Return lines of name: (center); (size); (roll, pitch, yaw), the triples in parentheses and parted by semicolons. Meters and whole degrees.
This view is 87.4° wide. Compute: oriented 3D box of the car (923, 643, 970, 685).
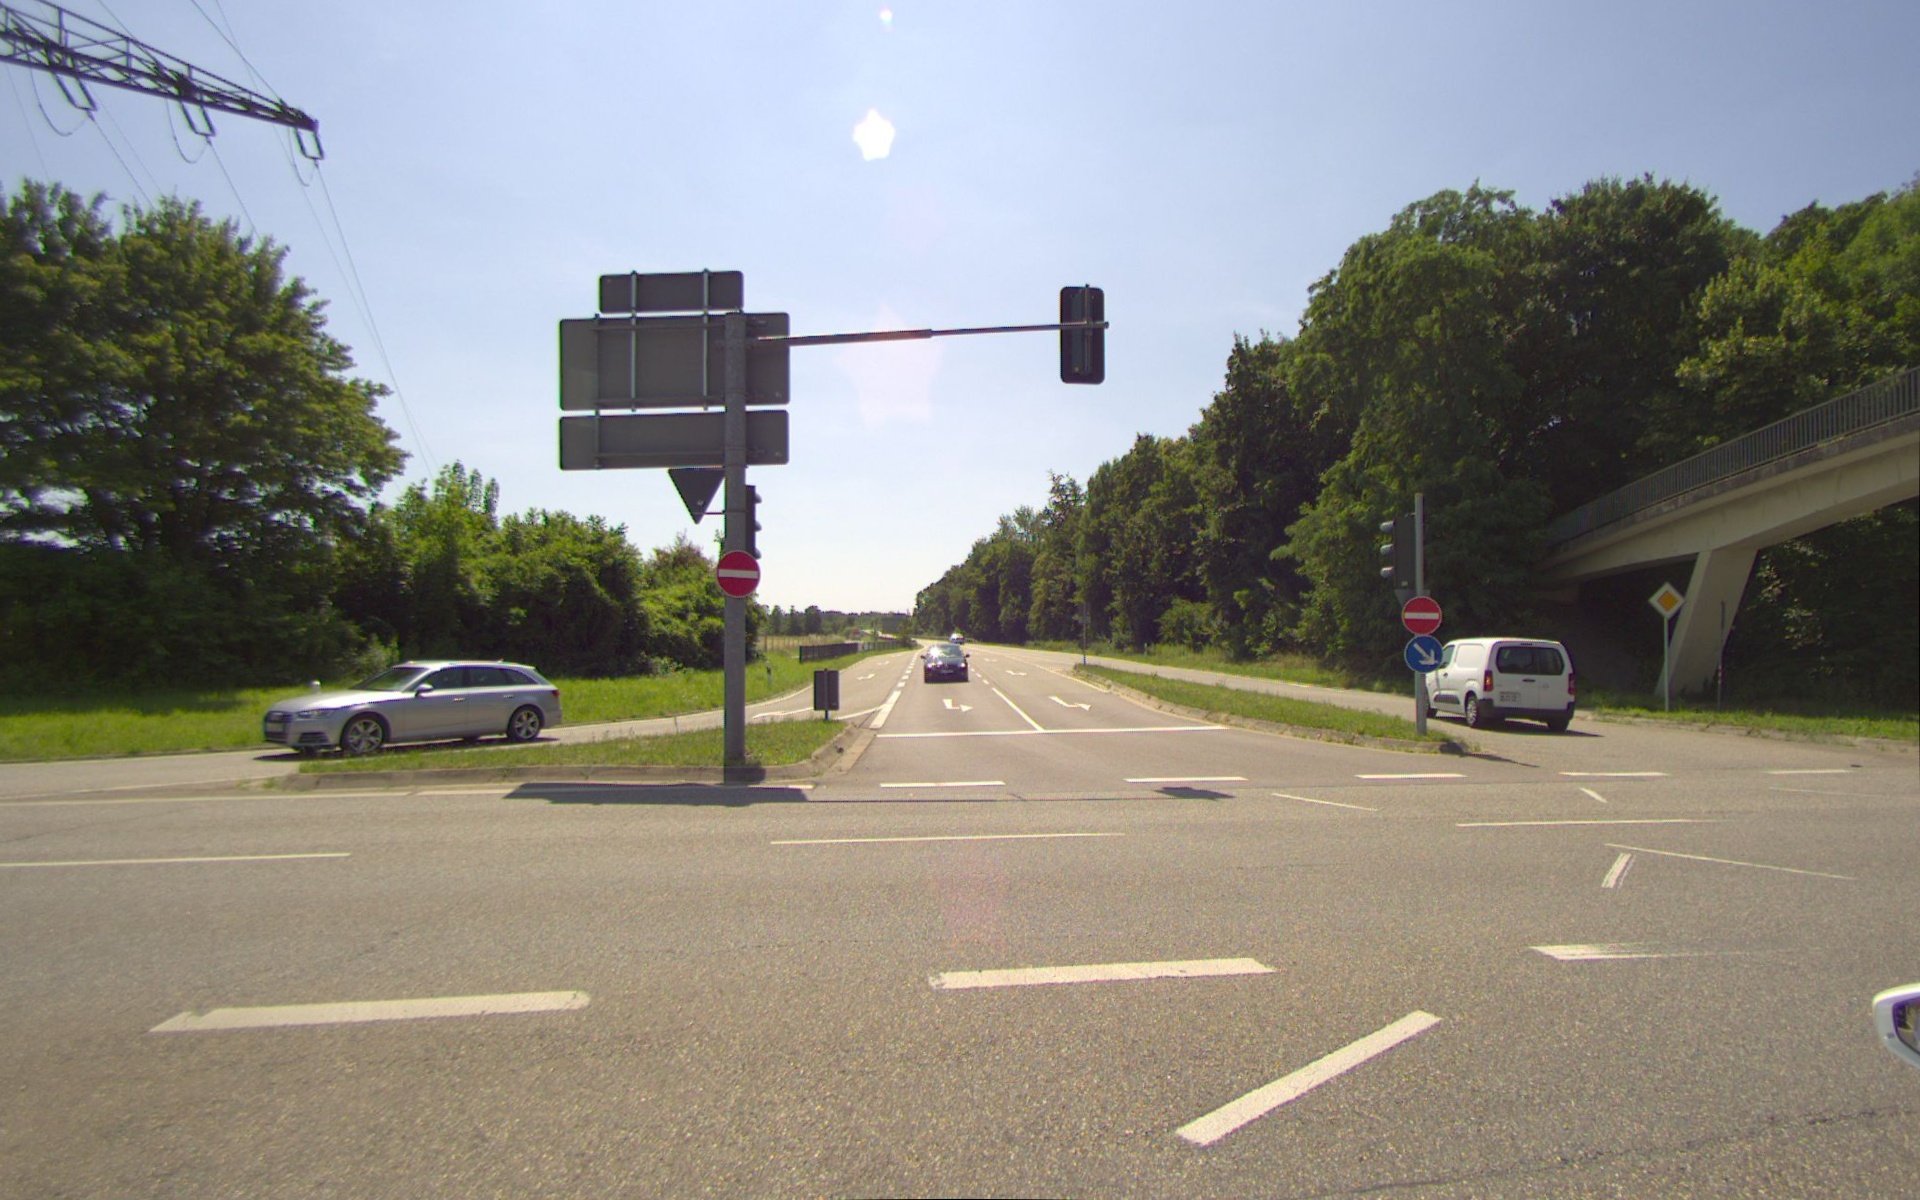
car: (-0.597, 2.534, 40.471); (1.707, 1.552, 4.167); (-3, -2, -2)

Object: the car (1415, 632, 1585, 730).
car: (11.166, 1.647, 21.106); (1.817, 1.849, 3.985); (0, -3, 7)

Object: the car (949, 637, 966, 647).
car: (-0.372, 5.698, 136.045); (1.962, 1.391, 4.780); (0, -2, -4)

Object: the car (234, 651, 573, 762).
car: (-9.151, 1.703, 17.002); (2.012, 1.596, 4.660); (-2, -4, 28)
